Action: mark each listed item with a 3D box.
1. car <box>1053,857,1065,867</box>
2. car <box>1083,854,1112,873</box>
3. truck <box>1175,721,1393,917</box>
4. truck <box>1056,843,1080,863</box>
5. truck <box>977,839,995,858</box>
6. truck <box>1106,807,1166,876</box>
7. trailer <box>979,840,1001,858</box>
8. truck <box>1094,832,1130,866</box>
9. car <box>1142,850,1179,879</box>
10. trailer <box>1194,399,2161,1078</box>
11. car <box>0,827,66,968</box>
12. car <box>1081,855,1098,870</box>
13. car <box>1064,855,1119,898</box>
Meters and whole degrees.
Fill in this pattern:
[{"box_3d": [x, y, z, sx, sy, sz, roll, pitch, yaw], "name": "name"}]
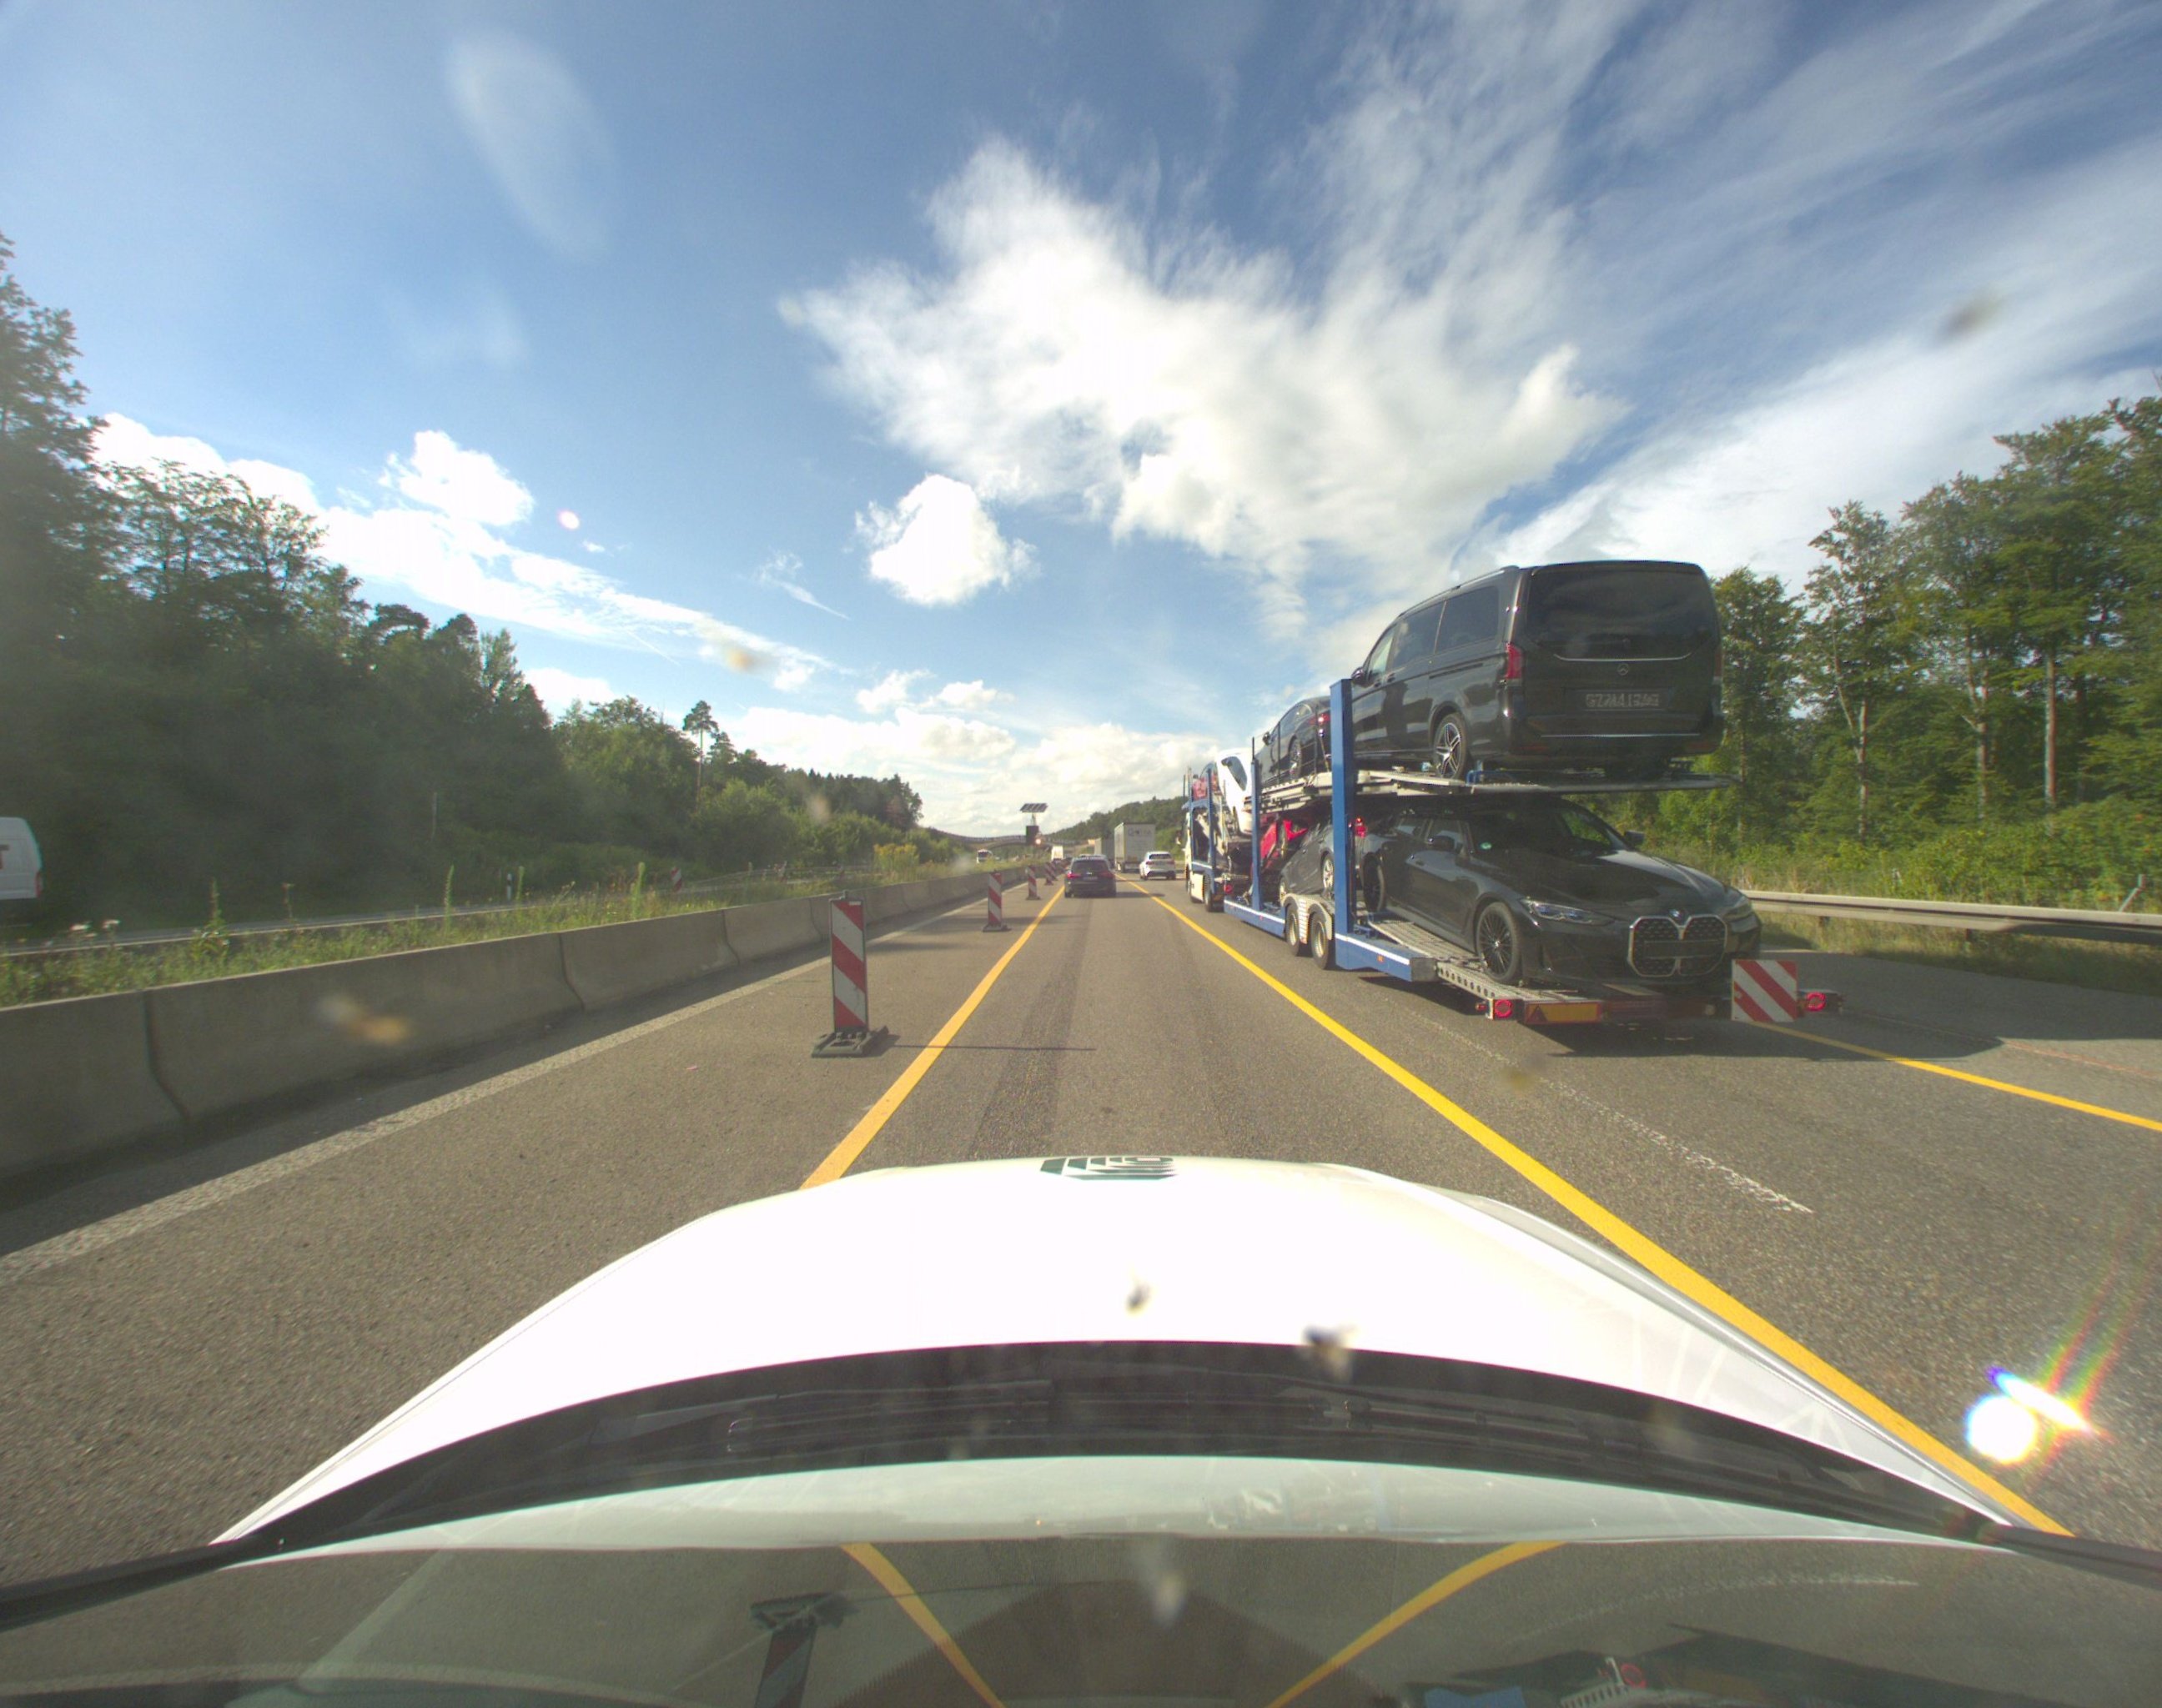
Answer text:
[{"box_3d": [-4.332, 1.552, 158.396, 1.991, 2.014, 3.991, -1, 0, -6], "name": "car"}, {"box_3d": [1.295, 0.716, 64.008, 1.887, 1.446, 3.993, -1, 0, -5], "name": "car"}, {"box_3d": [4.848, -0.745, 21.583, 3.749, 4.196, 7.948, -1, 0, 0], "name": "truck"}, {"box_3d": [-2.931, -0.143, 173.931, 3.653, 3.928, 11.034, -1, 0, -9], "name": "truck"}, {"box_3d": [-18.099, -1.033, 155.222, 2.774, 3.490, 4.941, -1, -1, 1], "name": "truck"}, {"box_3d": [4.584, -0.950, 71.680, 3.668, 5.353, 16.189, -1, 0, -2], "name": "truck"}, {"box_3d": [-17.979, -0.967, 161.403, 2.792, 3.489, 11.115, -1, 0, 1], "name": "trailer"}, {"box_3d": [4.354, -0.698, 117.168, 4.309, 4.600, 11.113, -1, 0, -3], "name": "truck"}, {"box_3d": [4.599, 0.604, 47.852, 1.883, 1.643, 4.019, -1, 0, 1], "name": "car"}, {"box_3d": [4.868, -0.686, 13.177, 3.714, 4.196, 16.223, -1, 0, 0], "name": "trailer"}, {"box_3d": [-21.664, 0.816, 13.243, 2.020, 2.684, 6.525, -1, 0, 2], "name": "car"}, {"box_3d": [0.972, 1.010, 95.315, 1.886, 1.643, 4.014, -1, 0, -2], "name": "car"}, {"box_3d": [0.415, 0.790, 30.132, 1.883, 1.446, 4.001, -1, 0, 1], "name": "car"}]
